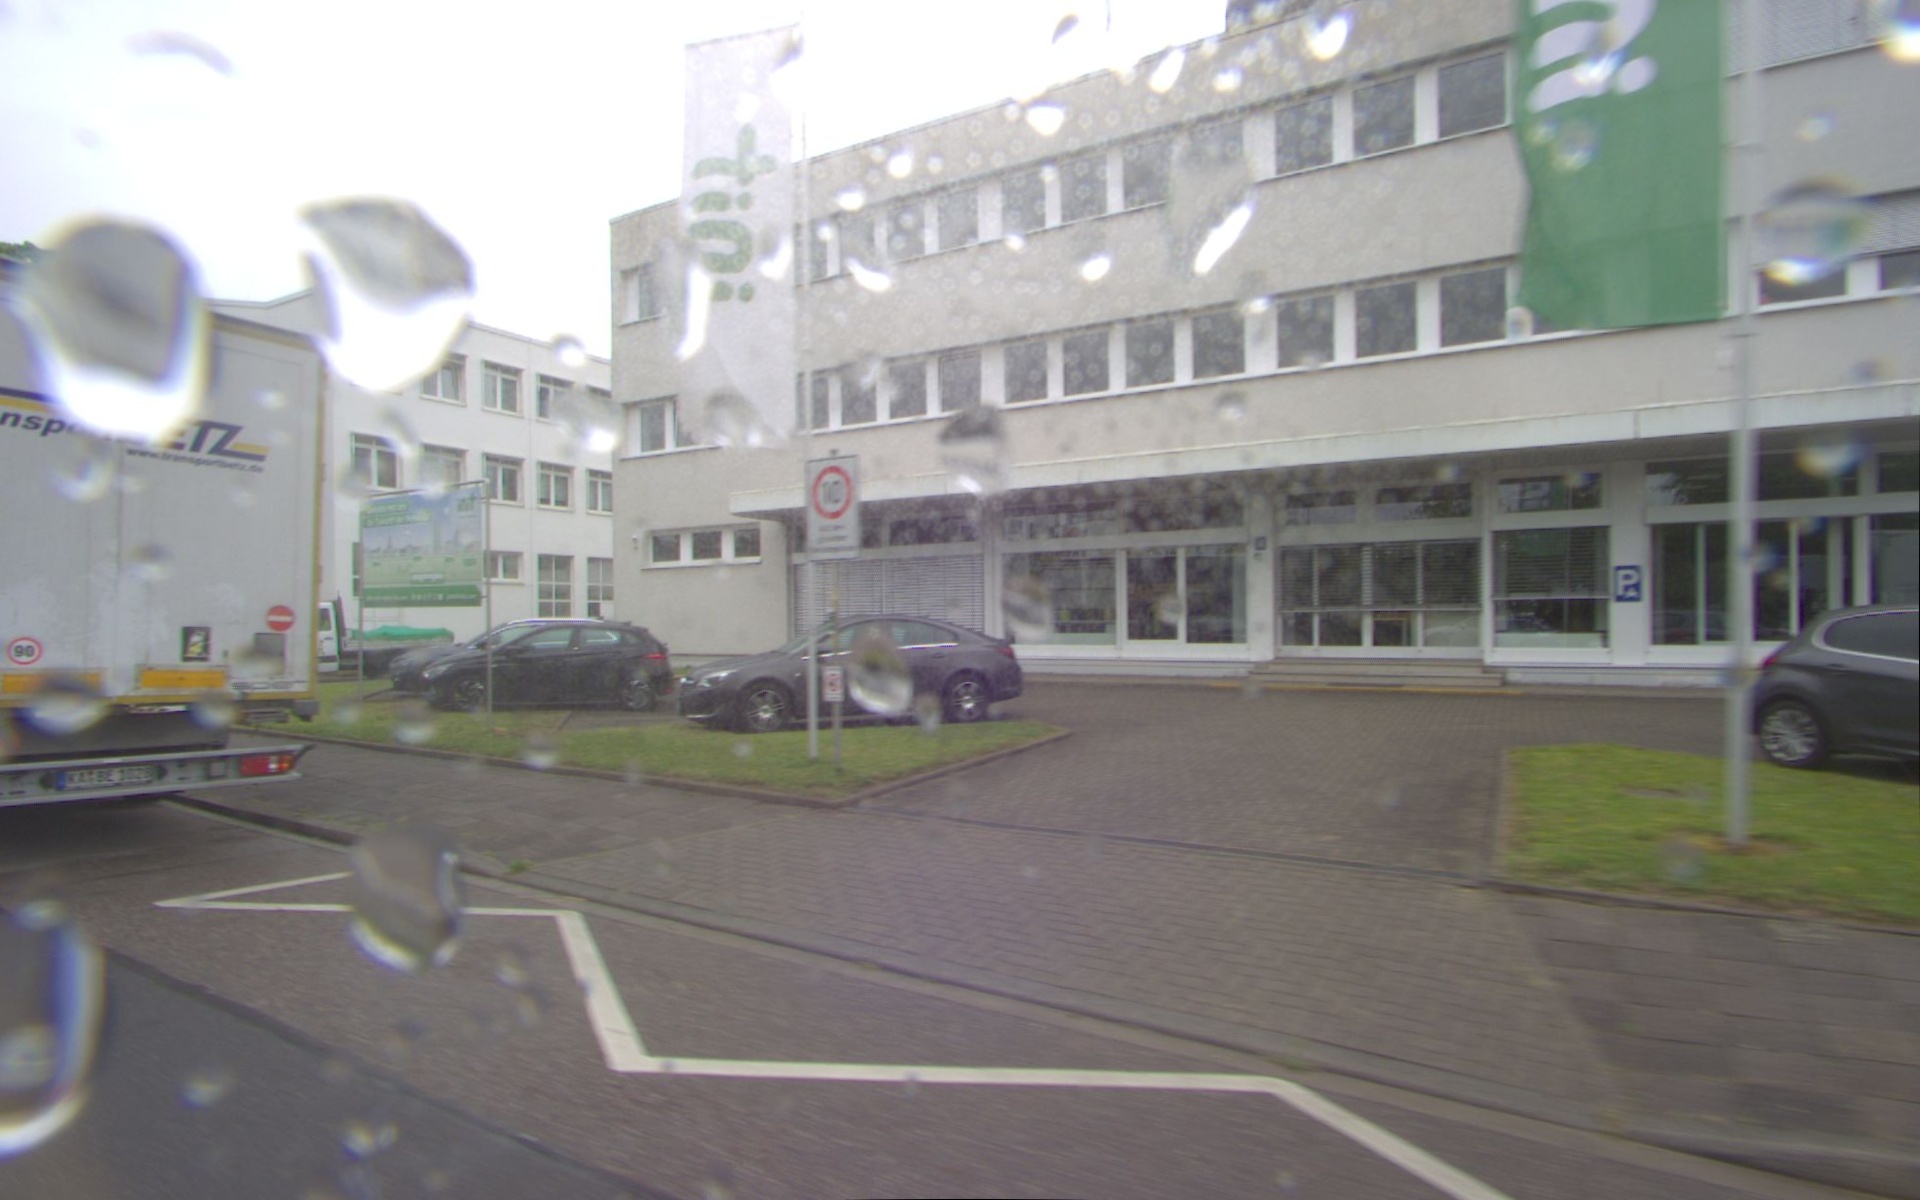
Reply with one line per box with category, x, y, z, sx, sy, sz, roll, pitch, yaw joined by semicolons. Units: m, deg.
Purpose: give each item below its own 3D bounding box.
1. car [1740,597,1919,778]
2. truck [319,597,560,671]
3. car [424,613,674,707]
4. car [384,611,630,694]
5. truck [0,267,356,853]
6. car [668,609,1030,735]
car;8.386;0.673;7.547;1.675;1.411;3.765;0;-1;-12
truck;-16.710;1.060;32.673;2.065;2.167;6.910;-1;-1;32
car;-6.875;1.019;17.099;3.717;1.414;1.723;3;-2;-19
car;-8.449;0.991;19.065;4.079;1.434;1.686;2;0;-19
truck;-8.757;-0.136;8.994;7.645;3.655;2.736;-1;-3;35
car;-1.511;0.885;13.626;4.598;1.487;1.786;0;-1;-21
